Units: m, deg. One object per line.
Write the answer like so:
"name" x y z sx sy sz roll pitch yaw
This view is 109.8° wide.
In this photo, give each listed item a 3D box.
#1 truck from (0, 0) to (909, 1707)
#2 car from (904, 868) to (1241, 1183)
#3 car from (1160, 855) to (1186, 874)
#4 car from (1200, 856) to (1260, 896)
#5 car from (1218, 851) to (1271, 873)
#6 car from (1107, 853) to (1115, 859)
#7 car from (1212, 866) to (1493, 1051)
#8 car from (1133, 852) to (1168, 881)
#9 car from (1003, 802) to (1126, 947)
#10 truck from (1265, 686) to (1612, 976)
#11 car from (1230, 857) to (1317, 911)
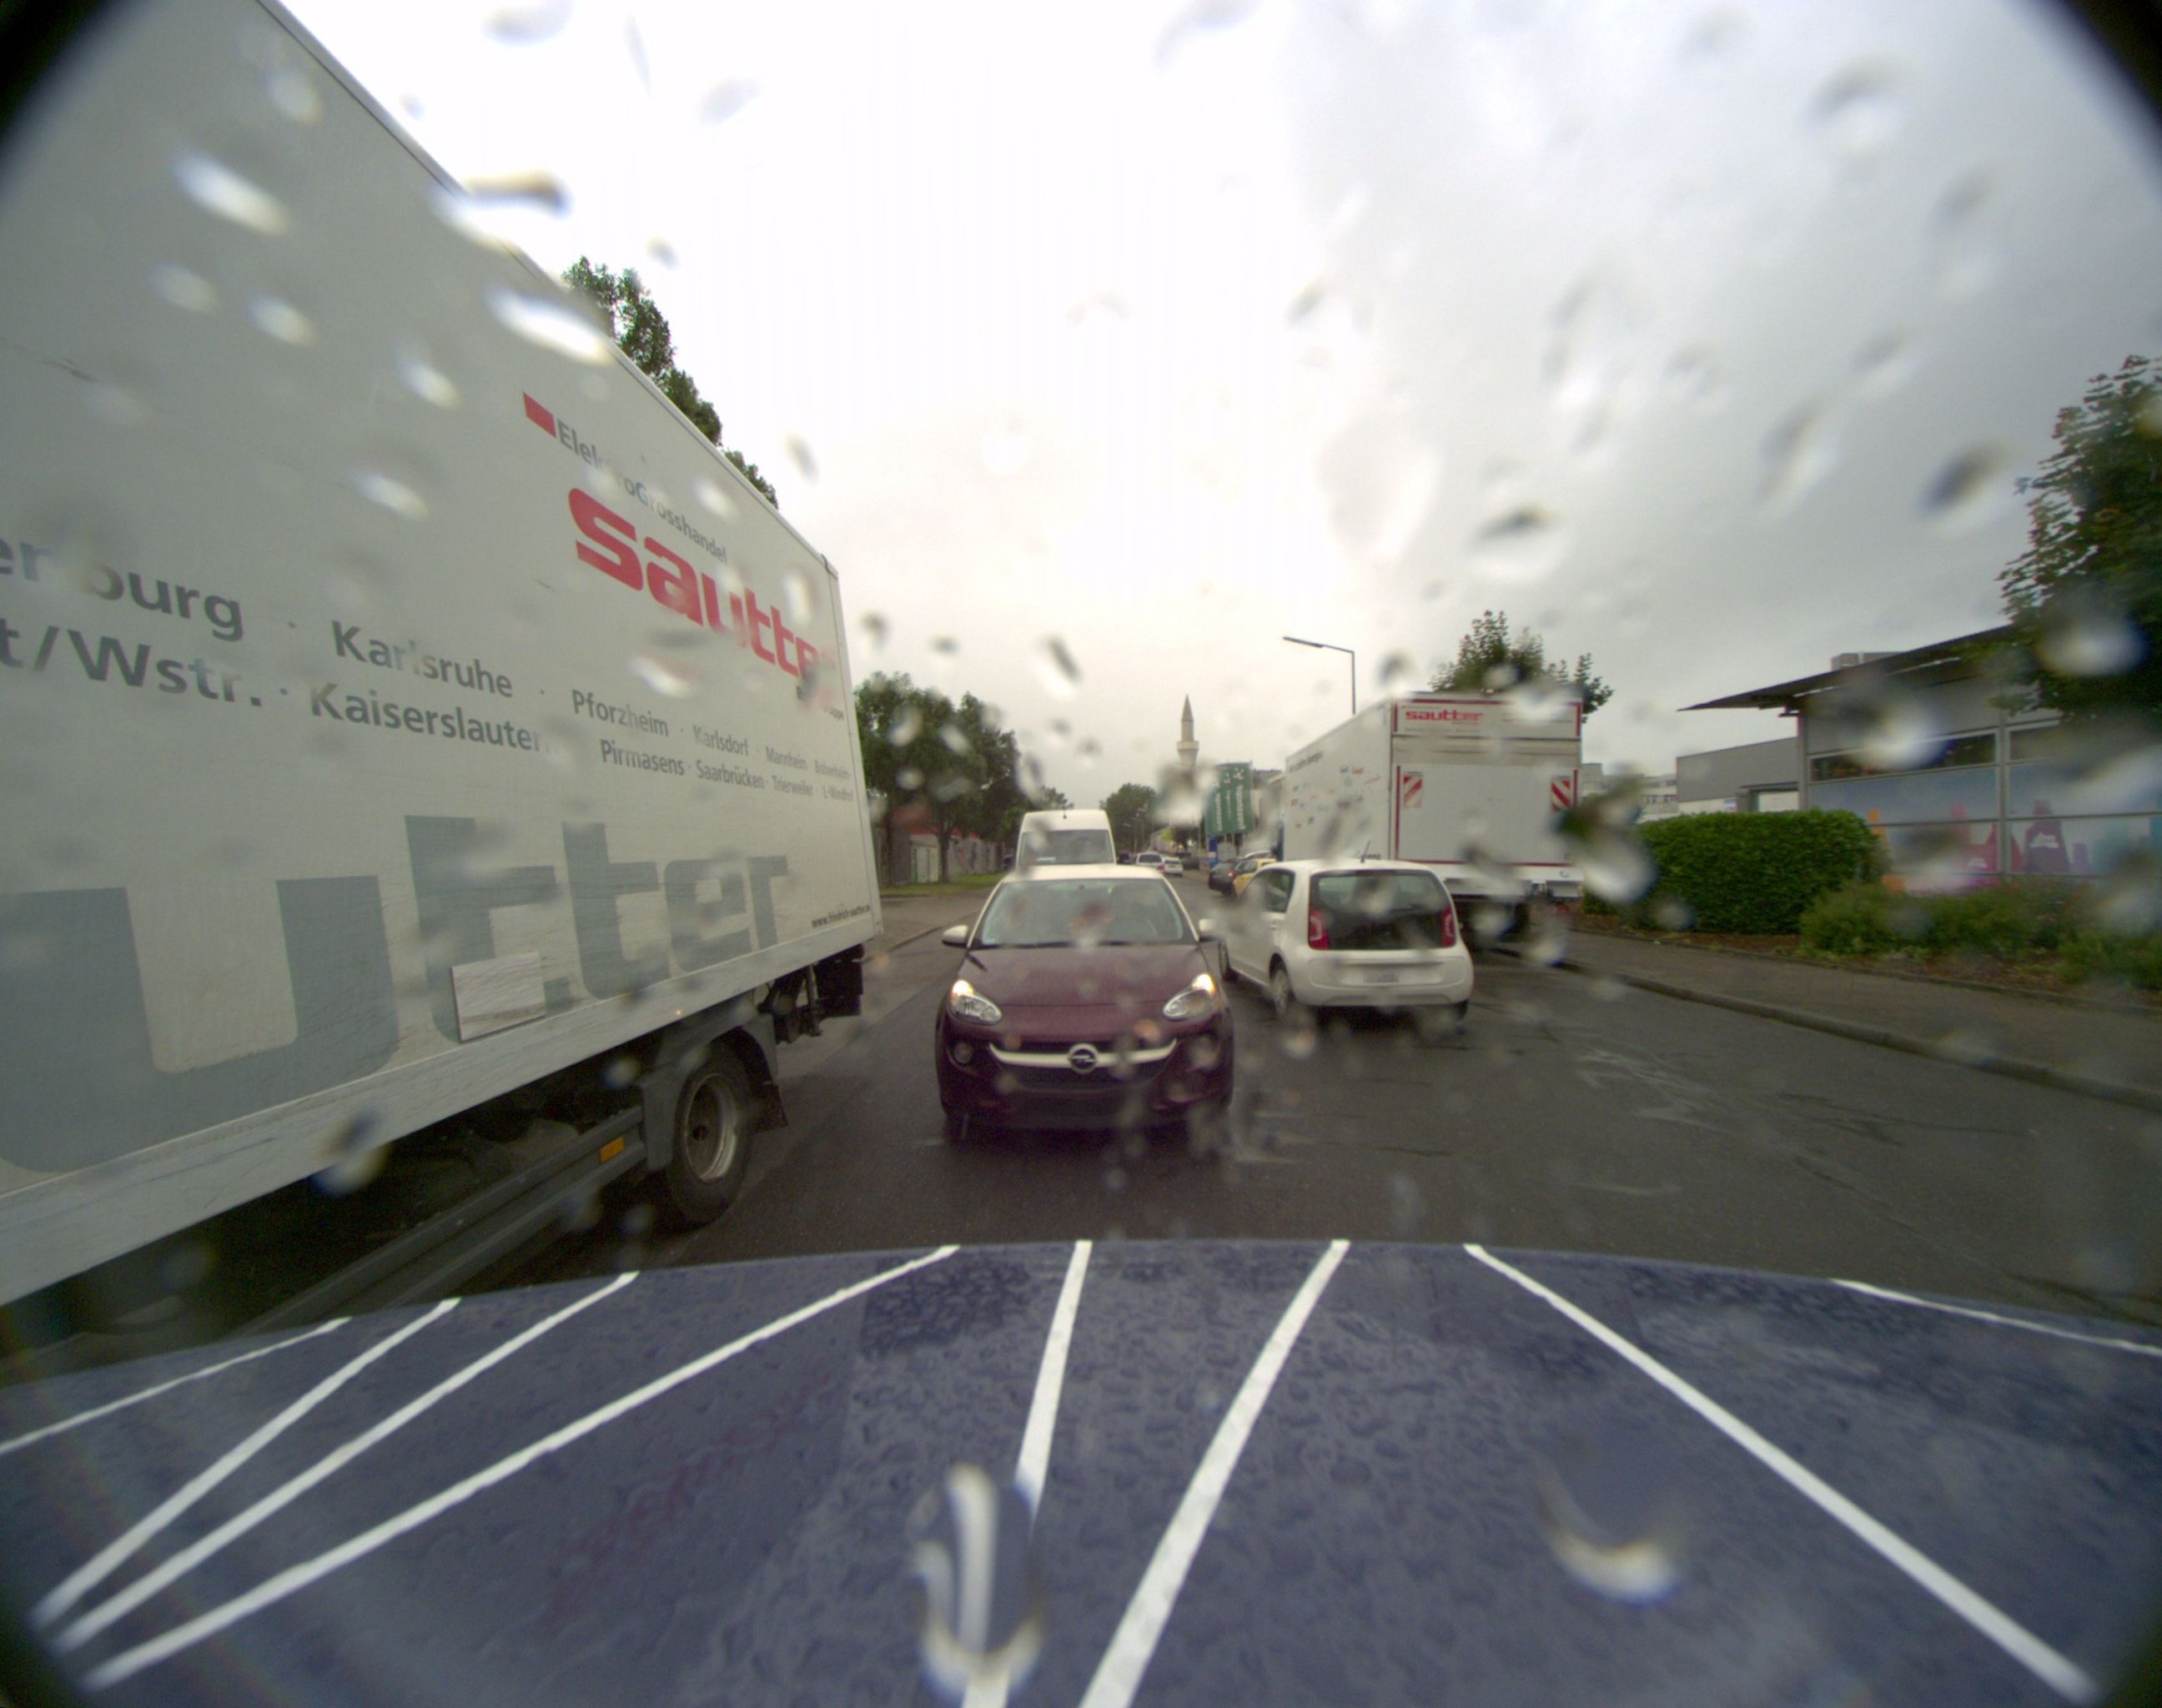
"truck" -2.853 0.002 1.610 2.678 3.670 8.010 -4 0 2
"car" -0.011 0.905 5.629 1.637 1.446 3.578 -3 0 1
"car" 7.161 0.803 59.592 1.579 1.333 3.611 -1 0 0
"car" 5.815 0.832 29.995 1.691 1.457 3.513 -1 0 0
"car" 12.482 0.600 58.056 3.609 1.588 1.692 -1 0 -2
"car" 6.861 0.540 172.559 1.579 1.333 3.611 -1 0 0
"car" 2.476 0.867 7.806 1.615 1.430 3.407 0 0 -1
"car" 3.955 0.670 43.877 1.691 1.588 3.611 -1 0 0
"car" -0.301 0.349 15.847 2.085 2.466 5.346 -1 0 0
"truck" 5.607 -0.291 13.858 2.888 3.724 7.868 -1 0 3
"car" 5.648 0.834 22.656 1.691 1.457 3.513 -1 0 0
